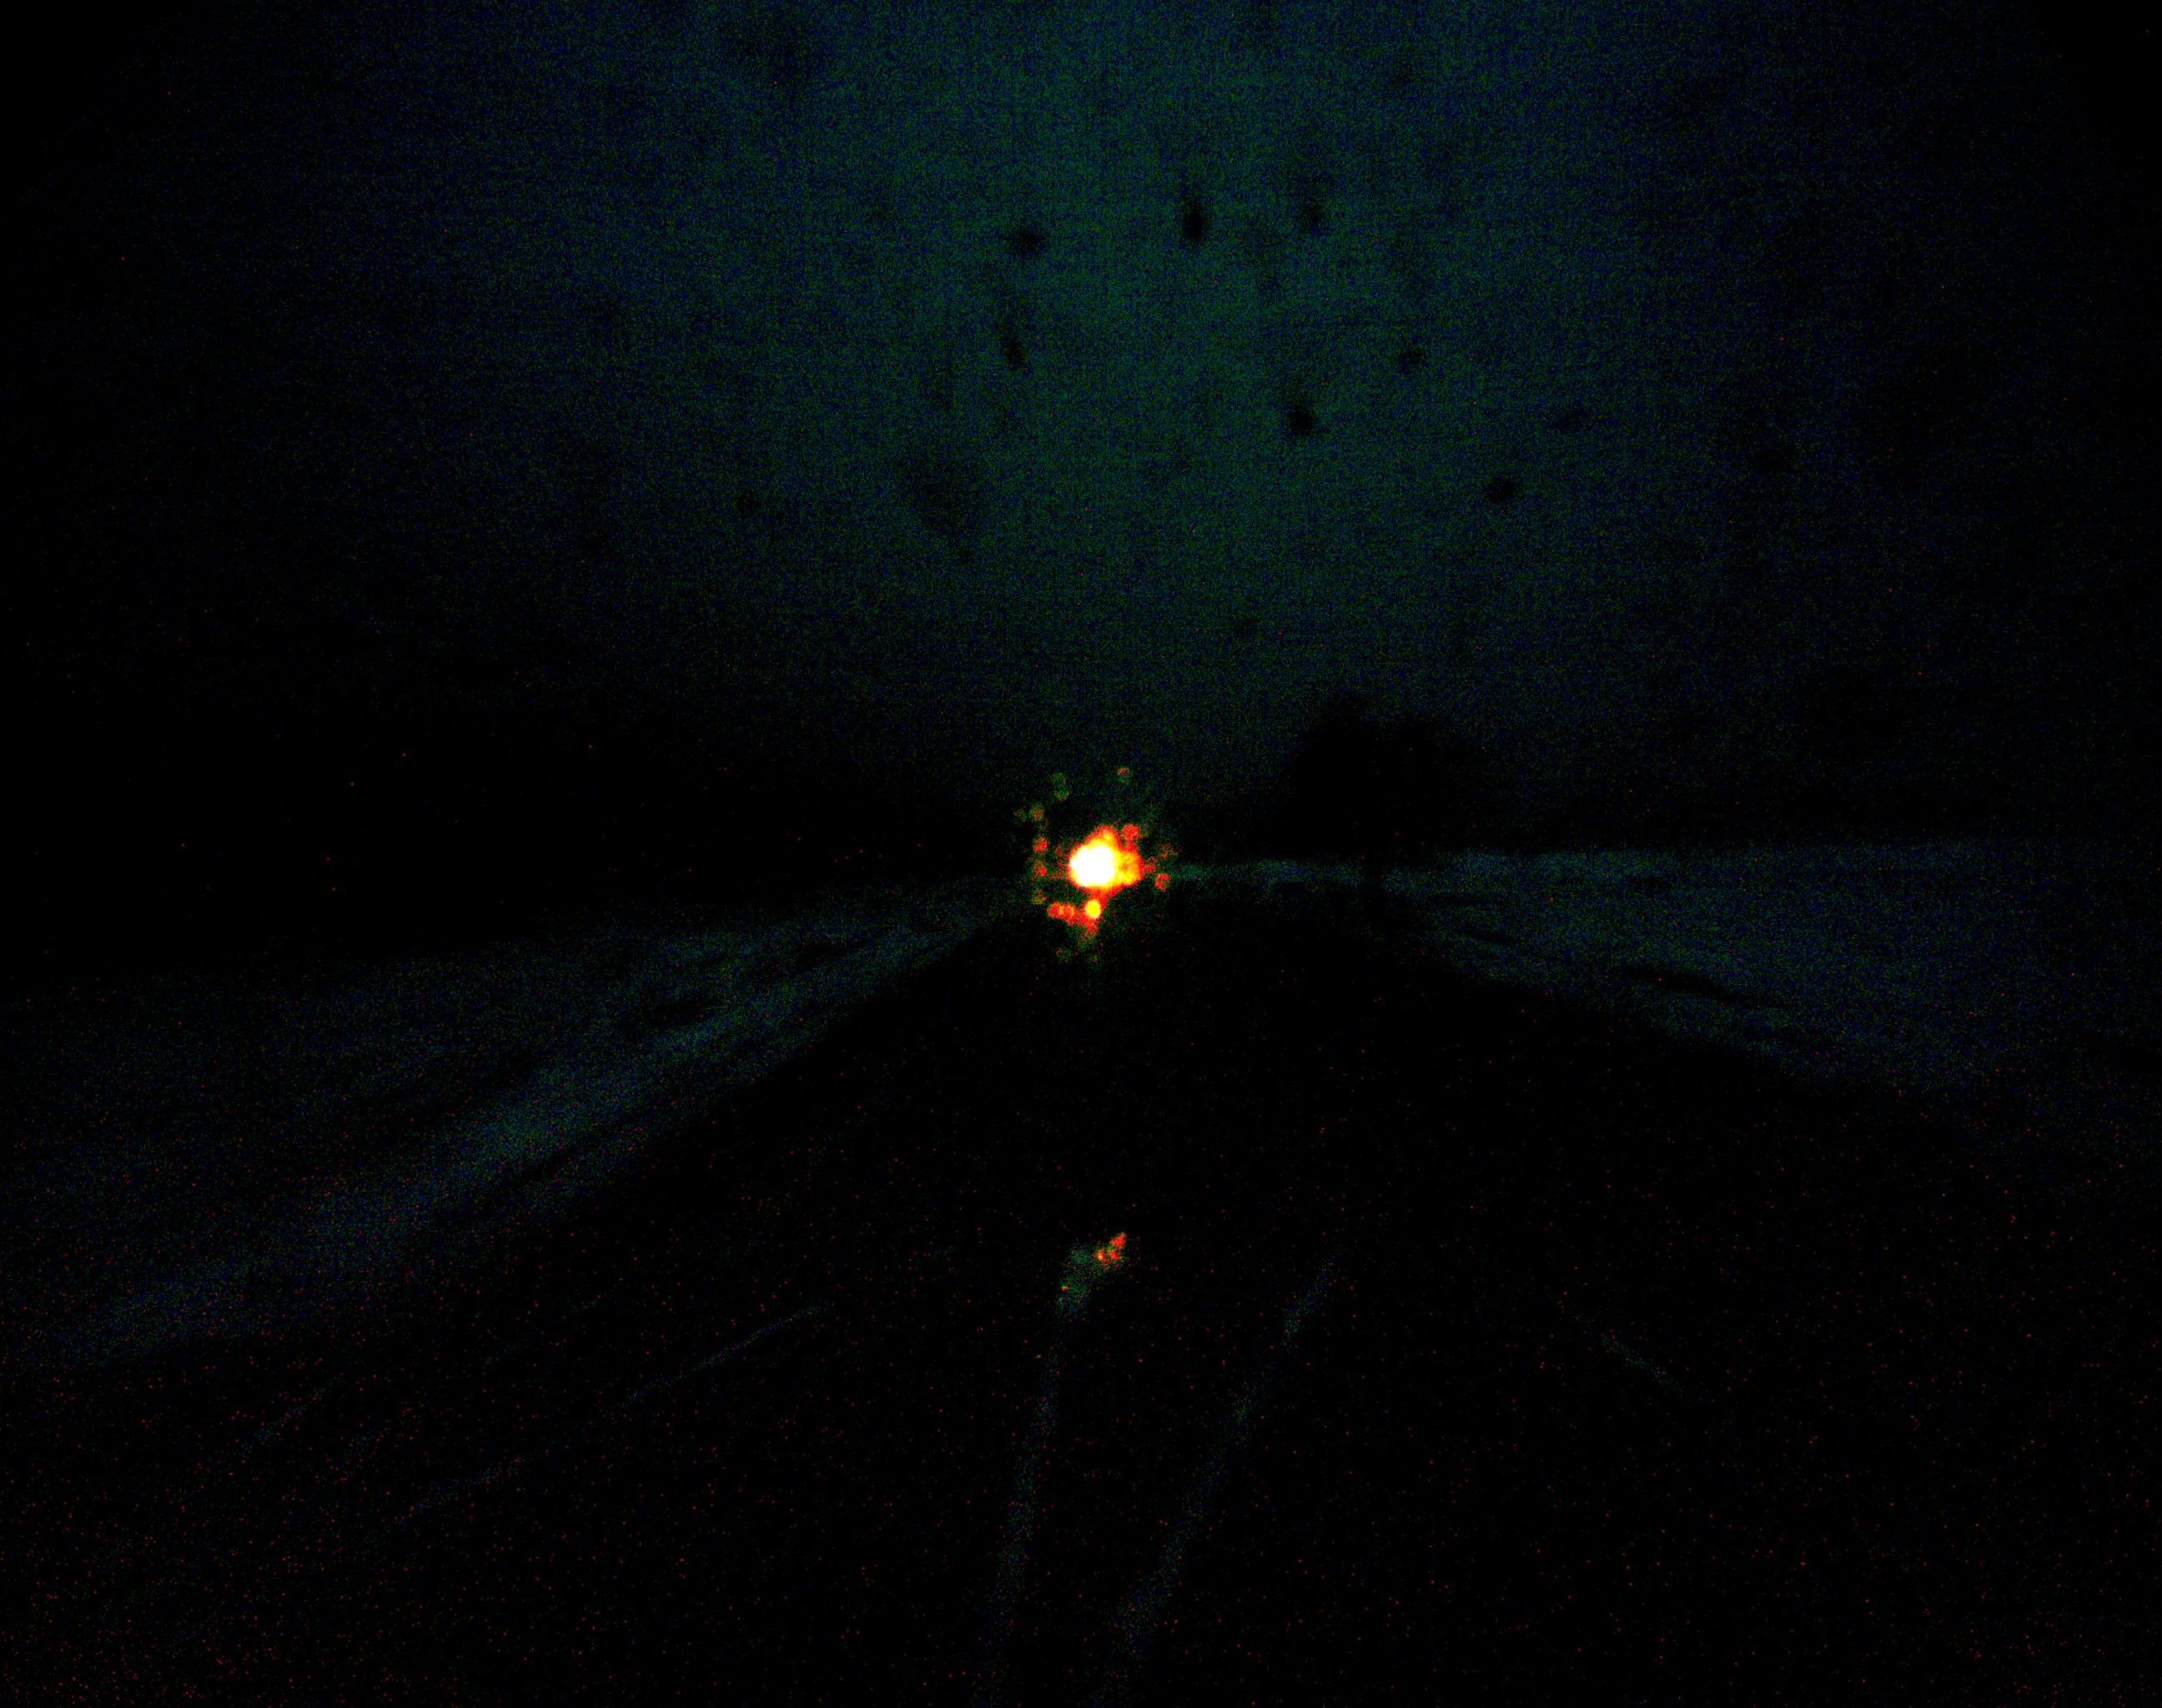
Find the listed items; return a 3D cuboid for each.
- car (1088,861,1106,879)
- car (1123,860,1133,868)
[{"bbox_3d":[2.061,2.048,97.802,1.998,2.002,4.001,-5,0,5],"label":"car"},{"bbox_3d":[8.552,1.834,137.723,1.732,1.338,4.222,0,0,2],"label":"car"}]
